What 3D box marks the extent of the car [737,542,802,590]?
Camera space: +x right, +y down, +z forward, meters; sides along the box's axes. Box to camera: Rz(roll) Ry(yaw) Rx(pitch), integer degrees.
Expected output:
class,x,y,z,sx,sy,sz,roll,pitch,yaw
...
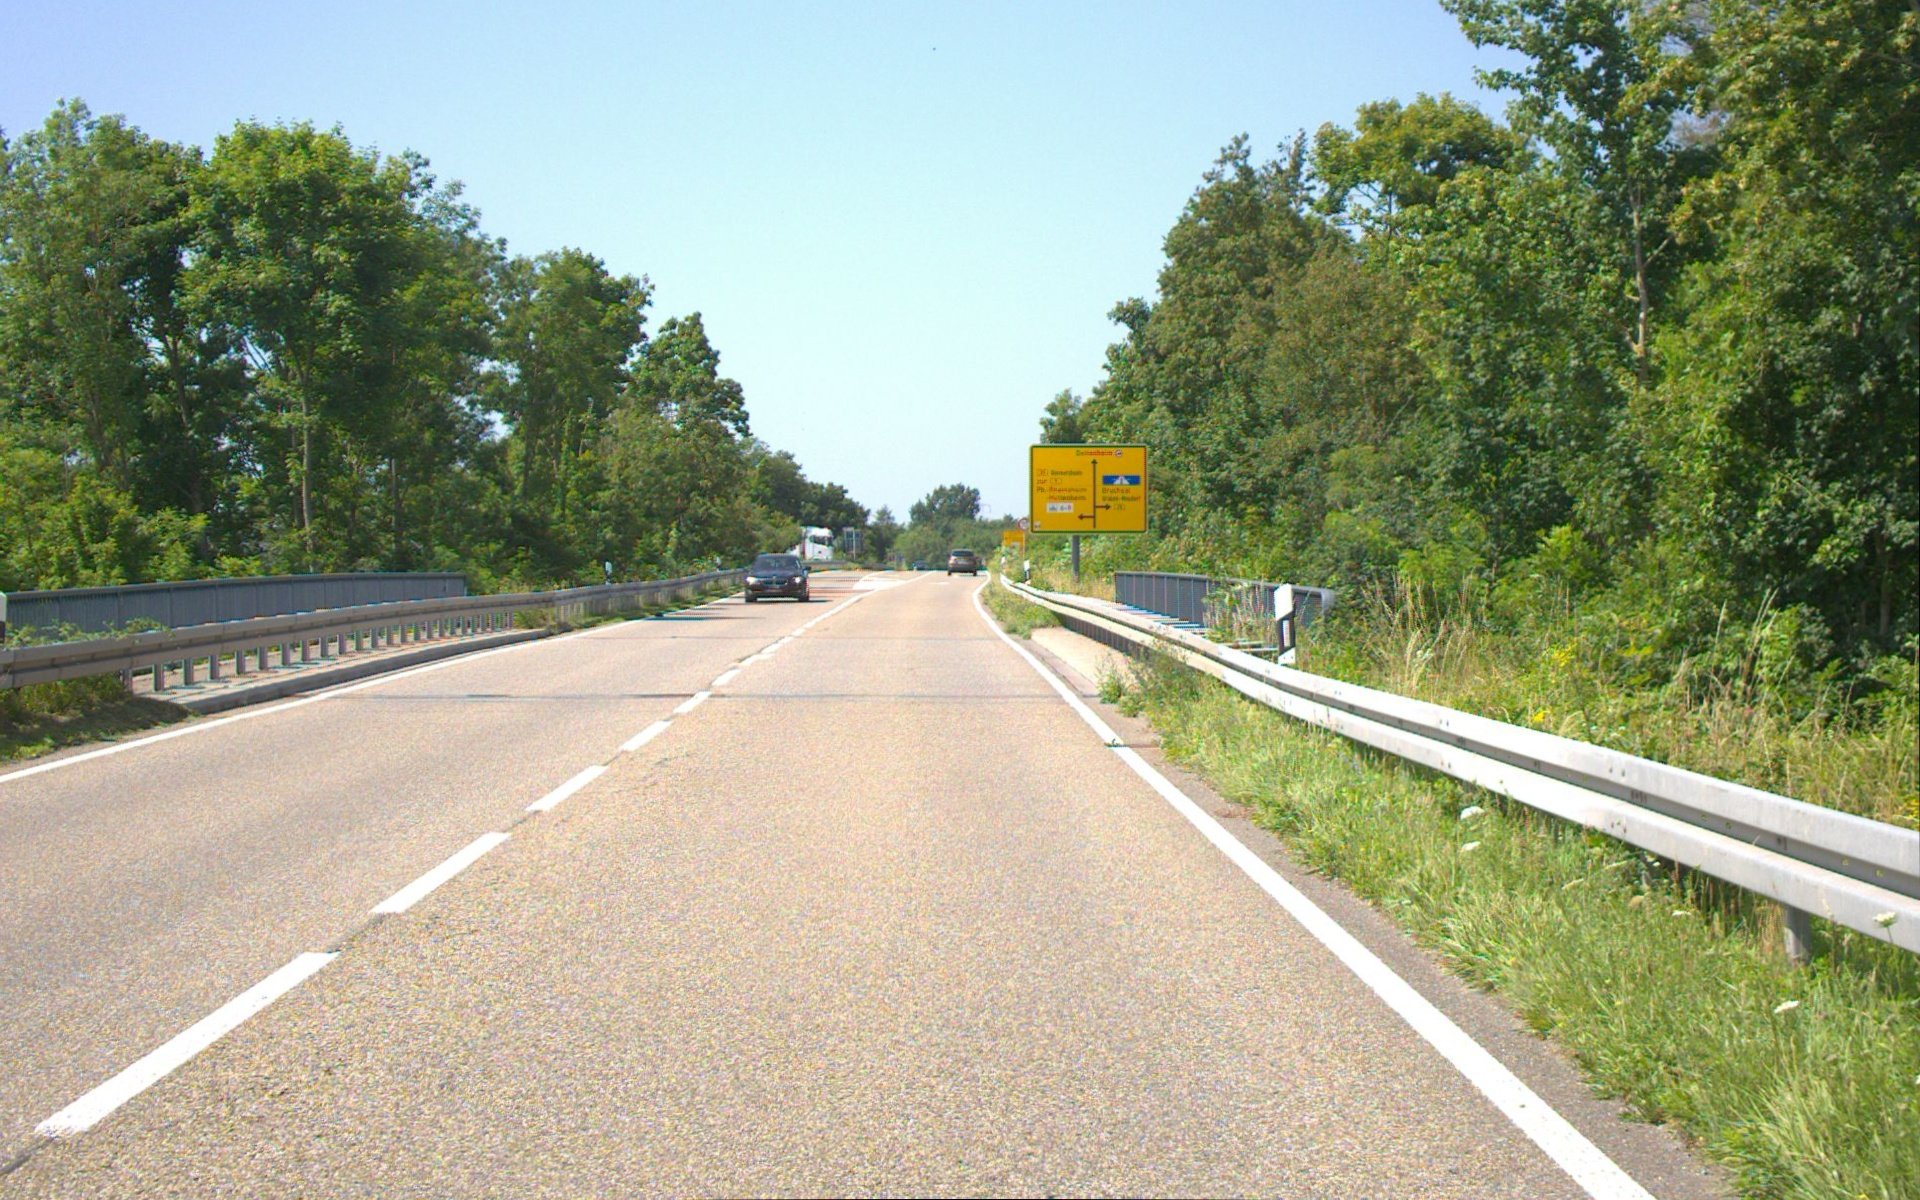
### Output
class,x,y,z,sx,sy,sz,roll,pitch,yaw
car,-5.784,-1.043,104.869,1.746,1.420,4.677,0,1,0

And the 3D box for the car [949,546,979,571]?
class,x,y,z,sx,sy,sz,roll,pitch,yaw
car,0.262,-2.476,206.125,1.741,1.465,3.692,0,1,0
